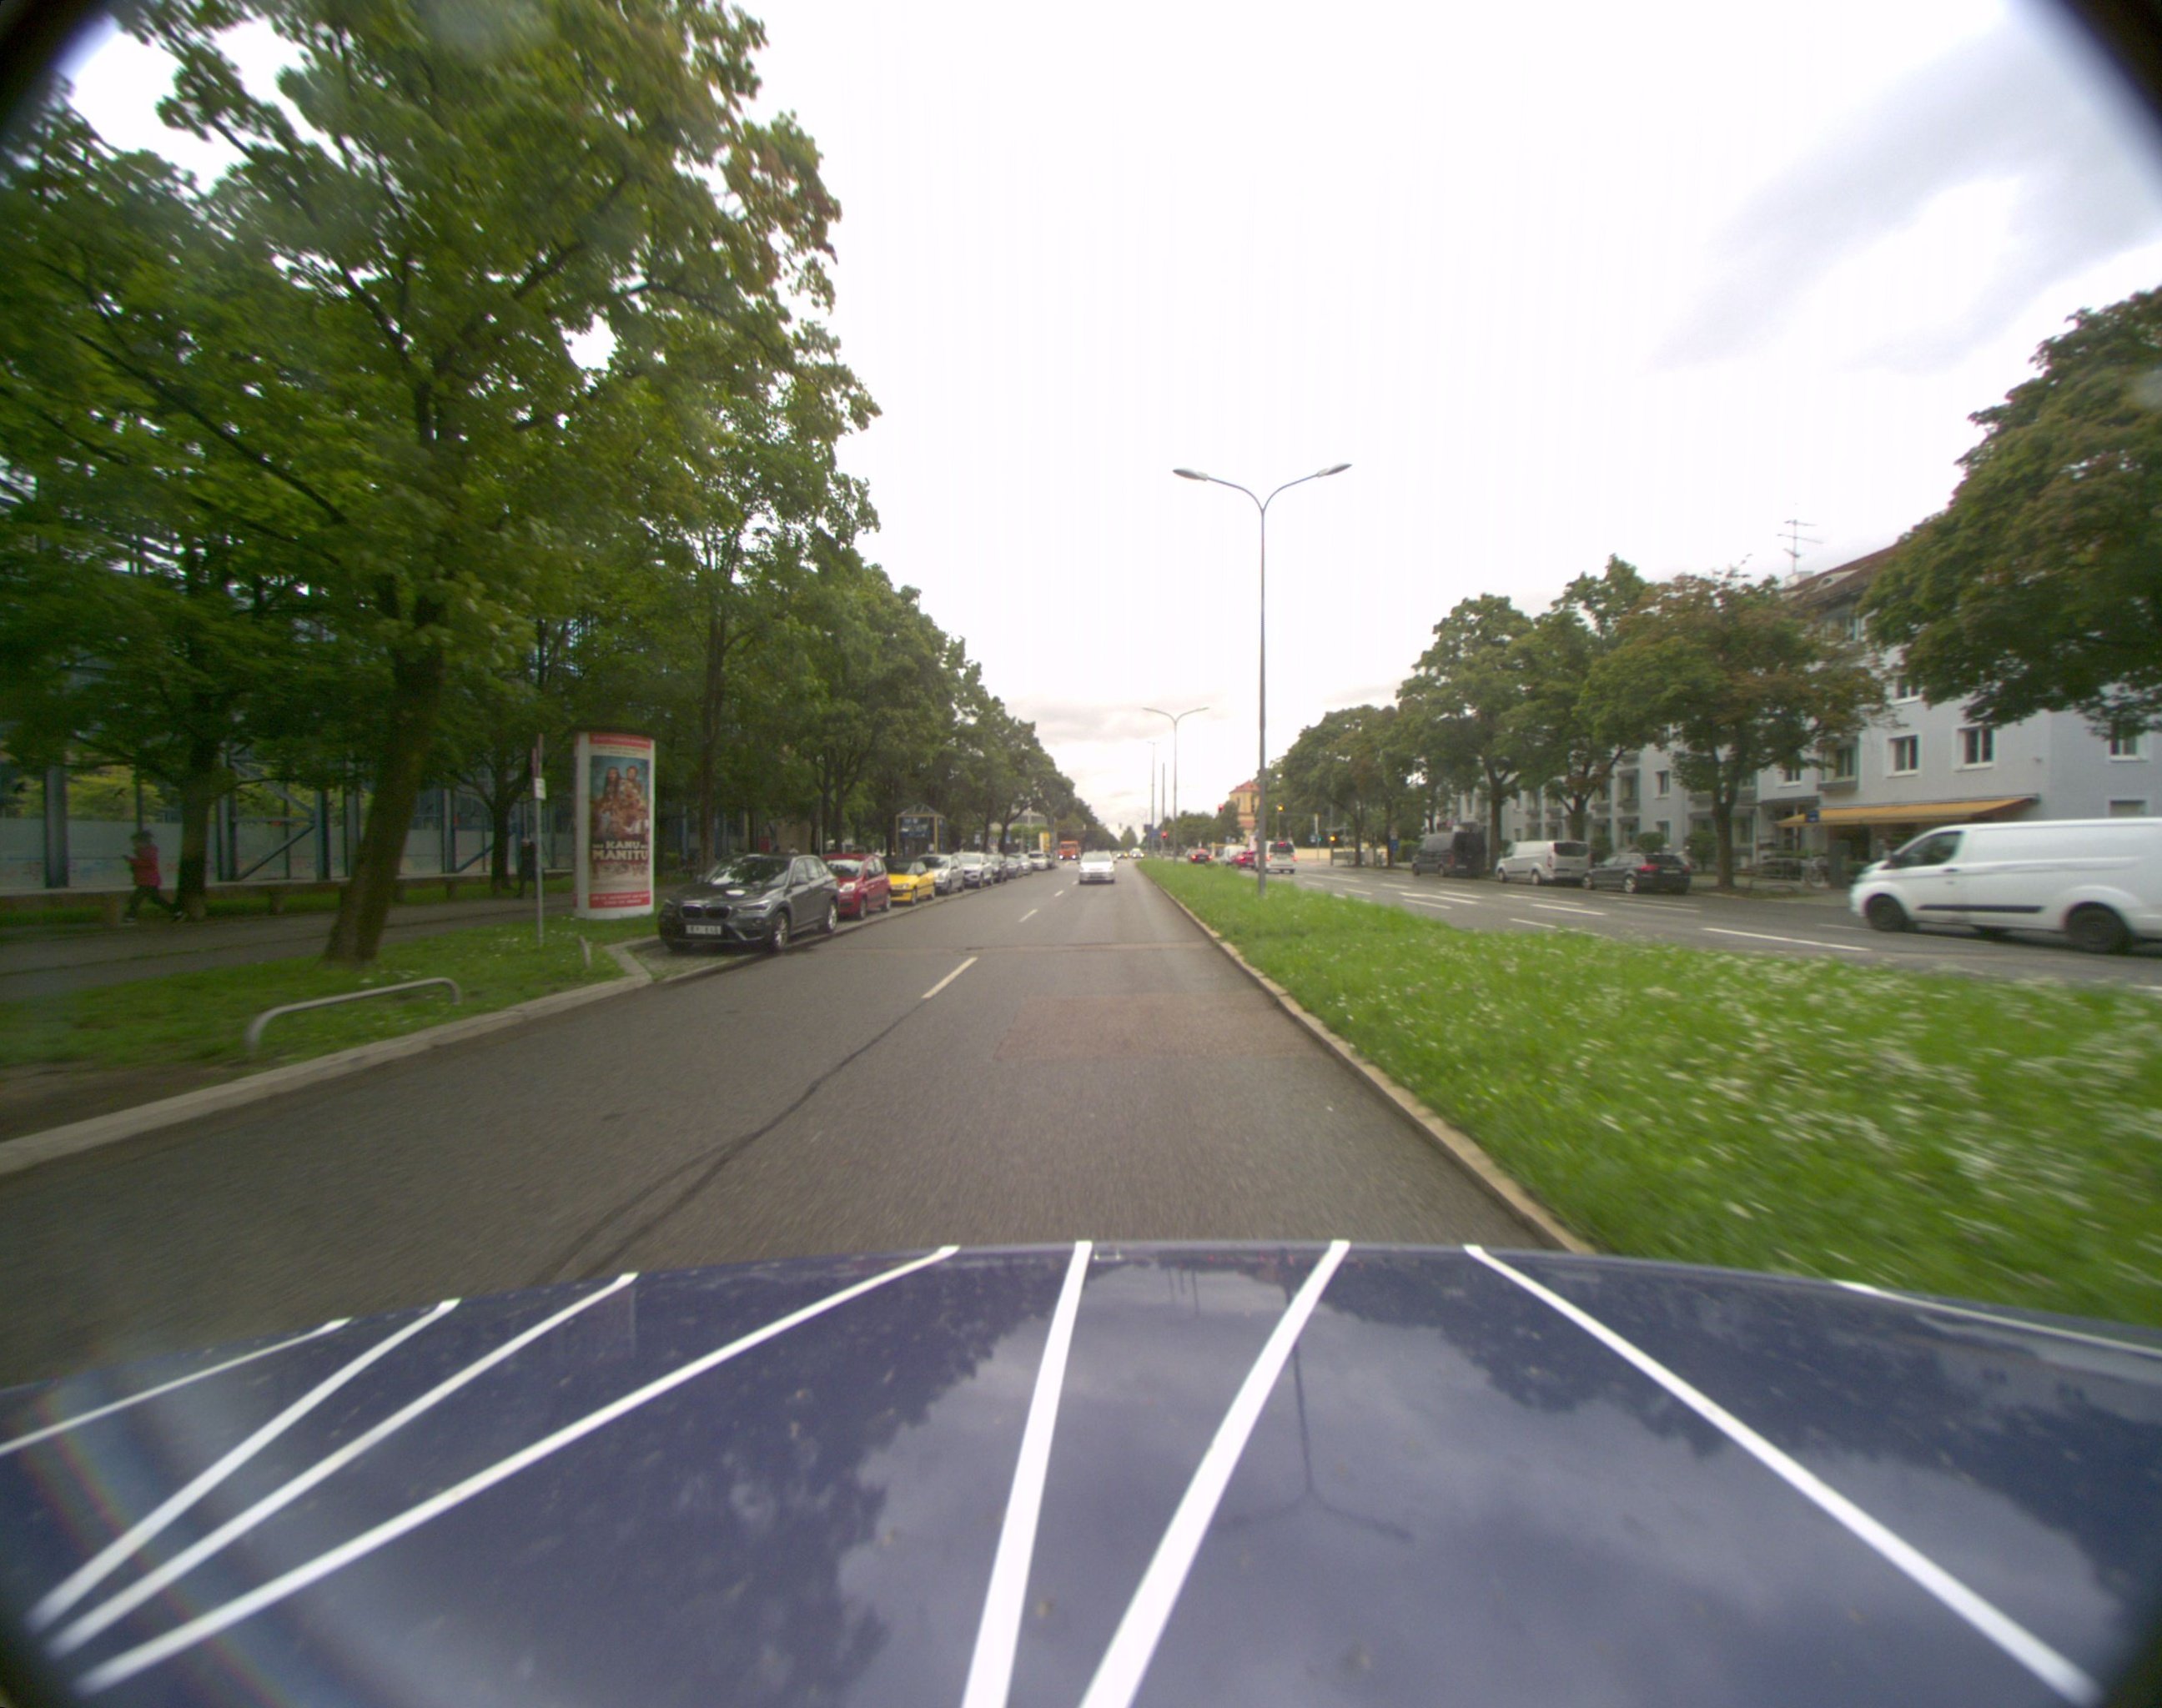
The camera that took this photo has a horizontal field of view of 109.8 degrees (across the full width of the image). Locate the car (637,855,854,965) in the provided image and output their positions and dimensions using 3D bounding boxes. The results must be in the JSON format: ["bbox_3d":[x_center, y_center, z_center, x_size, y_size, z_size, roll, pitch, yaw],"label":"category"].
[{"bbox_3d":[-5.733,0.852,13.741,1.865,1.581,4.602,0,1,0],"label":"car"}]

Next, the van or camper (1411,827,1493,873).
[{"bbox_3d":[20.947,-0.264,43.194,2.054,2.472,5.548,0,1,2],"label":"van or camper"}]

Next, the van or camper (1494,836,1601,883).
[{"bbox_3d":[20.514,0.178,33.701,2.025,1.931,4.704,0,1,3],"label":"van or camper"}]

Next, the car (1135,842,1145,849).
[{"bbox_3d":[10.376,-1.483,133.536,1.589,1.259,3.735,0,1,3],"label":"car"}]

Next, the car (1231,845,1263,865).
[{"bbox_3d":[12.466,0.015,57.131,1.795,1.440,3.672,0,1,3],"label":"car"}]

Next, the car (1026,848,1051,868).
[{"bbox_3d":[-3.360,0.321,61.269,1.589,1.495,3.735,0,1,3],"label":"car"}]

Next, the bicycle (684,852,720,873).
[{"bbox_3d":[-17.439,0.381,34.994,0.512,0.935,2.141,0,1,1],"label":"bicycle"}]

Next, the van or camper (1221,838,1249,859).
[{"bbox_3d":[13.239,-0.500,65.410,1.795,1.787,4.125,0,1,3],"label":"van or camper"}]

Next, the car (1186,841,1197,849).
[{"bbox_3d":[25.265,-2.021,173.785,2.145,1.879,4.000,0,1,2],"label":"car"}]

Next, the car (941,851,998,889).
[{"bbox_3d":[-4.840,0.634,33.506,1.682,1.522,4.096,0,1,3],"label":"car"}]

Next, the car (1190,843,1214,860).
[{"bbox_3d":[10.749,-0.208,67.526,1.761,1.440,3.672,0,1,3],"label":"car"}]

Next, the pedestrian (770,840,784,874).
[{"bbox_3d":[-14.433,0.146,36.057,0.507,1.619,0.426,1,2,-2],"label":"pedestrian"}]

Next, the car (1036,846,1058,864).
[{"bbox_3d":[-2.938,0.039,66.439,1.589,1.495,3.735,0,1,3],"label":"car"}]

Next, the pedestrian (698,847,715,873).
[{"bbox_3d":[-16.983,0.268,34.462,0.506,1.173,0.426,2,2,2],"label":"pedestrian"}]

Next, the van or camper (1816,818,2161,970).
[{"bbox_3d":[15.373,0.495,12.307,2.020,2.004,5.198,0,1,3],"label":"van or camper"}]

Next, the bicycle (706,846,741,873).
[{"bbox_3d":[-16.505,0.223,35.116,0.512,1.186,2.141,0,2,1],"label":"bicycle"}]

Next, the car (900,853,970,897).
[{"bbox_3d":[-5.325,0.726,28.147,1.626,1.466,3.895,0,1,3],"label":"car"}]

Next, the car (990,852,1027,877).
[{"bbox_3d":[-4.162,0.584,44.194,1.589,1.310,3.735,0,1,3],"label":"car"}]

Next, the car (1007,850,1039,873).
[{"bbox_3d":[-3.784,0.462,49.815,1.589,1.395,3.735,0,1,3],"label":"car"}]

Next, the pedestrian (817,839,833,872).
[{"bbox_3d":[-13.174,0.089,39.080,0.612,1.680,0.611,1,2,-2],"label":"pedestrian"}]

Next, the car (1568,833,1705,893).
[{"bbox_3d":[20.029,0.263,27.684,1.801,1.986,4.546,0,1,3],"label":"car"}]

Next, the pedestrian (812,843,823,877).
[{"bbox_3d":[-13.029,0.297,37.611,0.433,1.680,0.349,0,1,-2],"label":"pedestrian"}]

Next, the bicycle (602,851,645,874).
[{"bbox_3d":[-19.981,0.353,33.213,0.571,0.935,2.064,0,2,1],"label":"bicycle"}]

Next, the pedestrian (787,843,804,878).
[{"bbox_3d":[-13.596,0.286,36.184,0.612,1.632,0.434,2,2,4],"label":"pedestrian"}]

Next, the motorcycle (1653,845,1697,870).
[{"bbox_3d":[28.848,0.169,36.901,1.813,1.164,0.464,0,1,-2],"label":"motorcycle"}]

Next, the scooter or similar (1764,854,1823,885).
[{"bbox_3d":[24.997,0.524,26.661,1.800,1.008,0.569,-2,1,-12],"label":"scooter or similar"}]

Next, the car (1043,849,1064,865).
[{"bbox_3d":[-2.593,0.284,72.429,1.589,1.495,3.735,0,1,3],"label":"car"}]

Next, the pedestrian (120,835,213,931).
[{"bbox_3d":[-16.379,0.494,13.623,0.737,1.636,0.864,2,2,22],"label":"pedestrian"}]

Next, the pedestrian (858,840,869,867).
[{"bbox_3d":[-14.004,-0.049,49.006,0.528,1.713,0.559,1,2,-2],"label":"pedestrian"}]

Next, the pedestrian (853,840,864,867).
[{"bbox_3d":[-14.177,-0.039,48.371,0.528,1.713,0.559,1,2,-2],"label":"pedestrian"}]

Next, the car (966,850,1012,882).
[{"bbox_3d":[-4.611,0.577,38.697,1.682,1.497,3.735,0,1,3],"label":"car"}]

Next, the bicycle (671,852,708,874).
[{"bbox_3d":[-17.974,0.405,34.931,0.512,0.935,2.141,0,1,1],"label":"bicycle"}]

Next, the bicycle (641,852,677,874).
[{"bbox_3d":[-18.829,0.377,33.933,0.618,0.935,1.762,0,1,1],"label":"bicycle"}]

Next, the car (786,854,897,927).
[{"bbox_3d":[-5.732,0.813,18.615,1.554,1.564,3.623,0,1,0],"label":"car"}]

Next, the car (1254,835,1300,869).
[{"bbox_3d":[12.270,-0.158,47.838,1.944,1.986,4.704,0,1,3],"label":"car"}]

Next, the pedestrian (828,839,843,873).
[{"bbox_3d":[-12.610,0.118,39.060,0.528,1.713,0.660,1,2,-2],"label":"pedestrian"}]

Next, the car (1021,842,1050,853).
[{"bbox_3d":[-6.951,-0.979,117.126,1.994,1.724,4.598,1,1,36],"label":"car"}]

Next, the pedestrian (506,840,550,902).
[{"bbox_3d":[-15.148,0.455,20.832,0.738,1.636,0.645,2,2,9],"label":"pedestrian"}]

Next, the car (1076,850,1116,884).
[{"bbox_3d":[0.727,0.557,34.607,1.679,1.434,3.735,0,1,3],"label":"car"}]

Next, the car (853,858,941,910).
[{"bbox_3d":[-5.537,0.844,23.343,1.626,1.374,4.194,0,1,1],"label":"car"}]

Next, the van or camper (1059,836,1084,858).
[{"bbox_3d":[-1.542,-1.139,126.896,3.320,3.533,10.897,0,1,3],"label":"van or camper"}]
